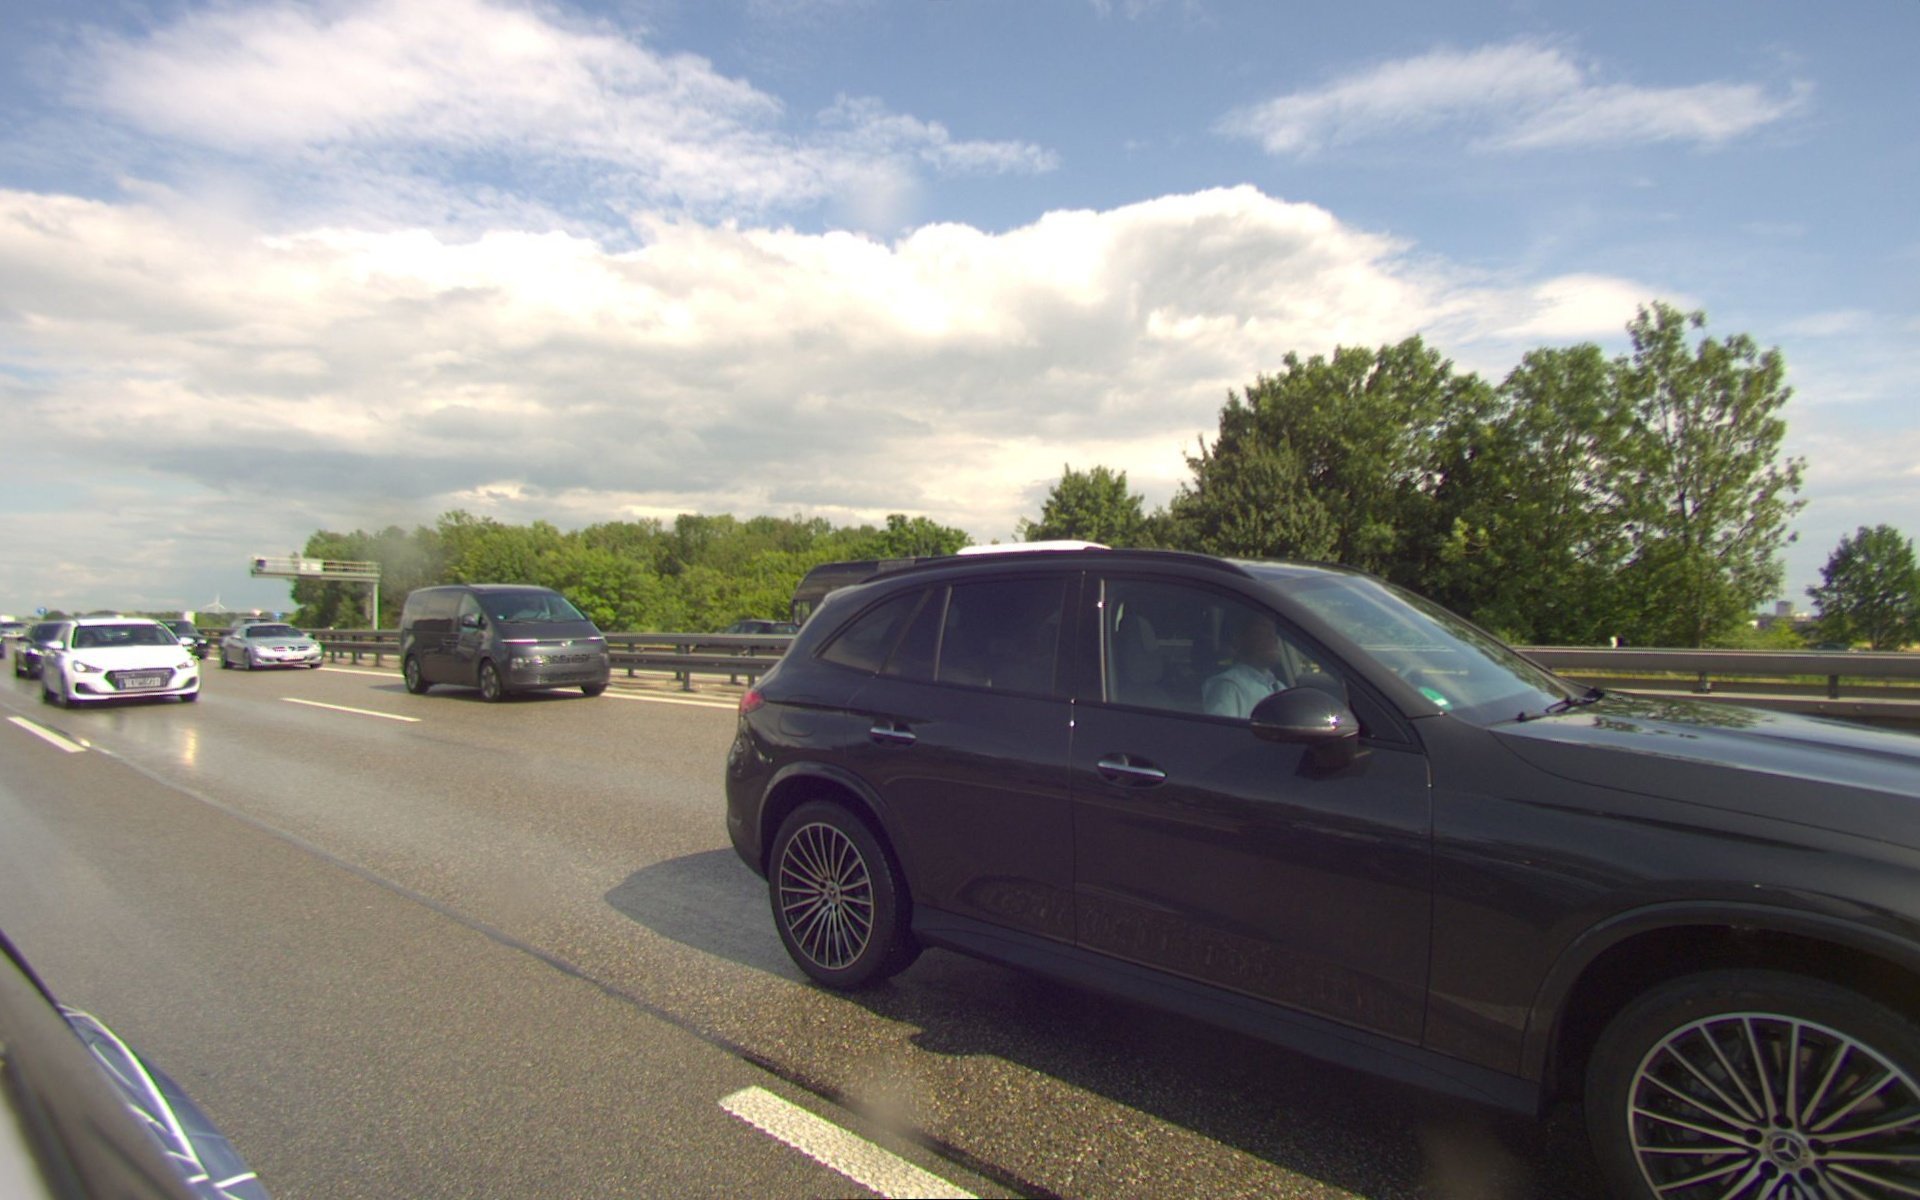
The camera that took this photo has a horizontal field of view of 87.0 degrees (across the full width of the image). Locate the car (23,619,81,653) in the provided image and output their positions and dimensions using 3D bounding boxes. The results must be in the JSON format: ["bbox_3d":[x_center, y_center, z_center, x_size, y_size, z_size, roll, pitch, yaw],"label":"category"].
[{"bbox_3d":[-49.469,1.950,55.116,3.997,1.763,1.876,-1,-1,41],"label":"car"}]

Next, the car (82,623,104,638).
[{"bbox_3d":[-119.513,4.187,139.550,4.365,2.029,1.971,-2,-1,45],"label":"car"}]

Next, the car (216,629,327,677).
[{"bbox_3d":[-19.111,1.420,28.038,3.583,1.198,1.832,-1,-1,43],"label":"car"}]

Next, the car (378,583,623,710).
[{"bbox_3d":[-8.239,0.758,17.869,5.233,1.932,1.973,-1,-1,41],"label":"car"}]

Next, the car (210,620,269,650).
[{"bbox_3d":[-39.474,1.904,55.436,3.998,1.556,1.781,-1,-1,41],"label":"car"}]

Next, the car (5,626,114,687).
[{"bbox_3d":[-22.759,1.371,25.526,3.998,1.409,1.577,-1,-1,41],"label":"car"}]

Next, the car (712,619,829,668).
[{"bbox_3d":[-5.640,1.251,29.933,3.523,1.320,1.632,-1,-1,44],"label":"car"}]

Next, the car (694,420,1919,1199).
[{"bbox_3d":[1.185,0.557,3.513,4.625,1.692,1.856,-2,-1,42],"label":"car"}]

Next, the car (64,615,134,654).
[{"bbox_3d":[-40.259,1.586,47.302,3.997,1.763,1.876,-1,-1,41],"label":"car"}]

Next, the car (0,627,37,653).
[{"bbox_3d":[-66.504,2.789,71.153,3.997,1.763,1.876,-1,-1,41],"label":"car"}]

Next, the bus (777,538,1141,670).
[{"bbox_3d":[-0.583,0.214,31.283,12.464,3.399,2.861,-1,-1,41],"label":"bus"}]

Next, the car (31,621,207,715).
[{"bbox_3d":[-14.594,1.086,17.477,4.239,1.408,1.785,-1,-2,43],"label":"car"}]

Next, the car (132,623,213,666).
[{"bbox_3d":[-27.902,1.546,35.818,3.999,1.431,1.597,-2,-1,42],"label":"car"}]
